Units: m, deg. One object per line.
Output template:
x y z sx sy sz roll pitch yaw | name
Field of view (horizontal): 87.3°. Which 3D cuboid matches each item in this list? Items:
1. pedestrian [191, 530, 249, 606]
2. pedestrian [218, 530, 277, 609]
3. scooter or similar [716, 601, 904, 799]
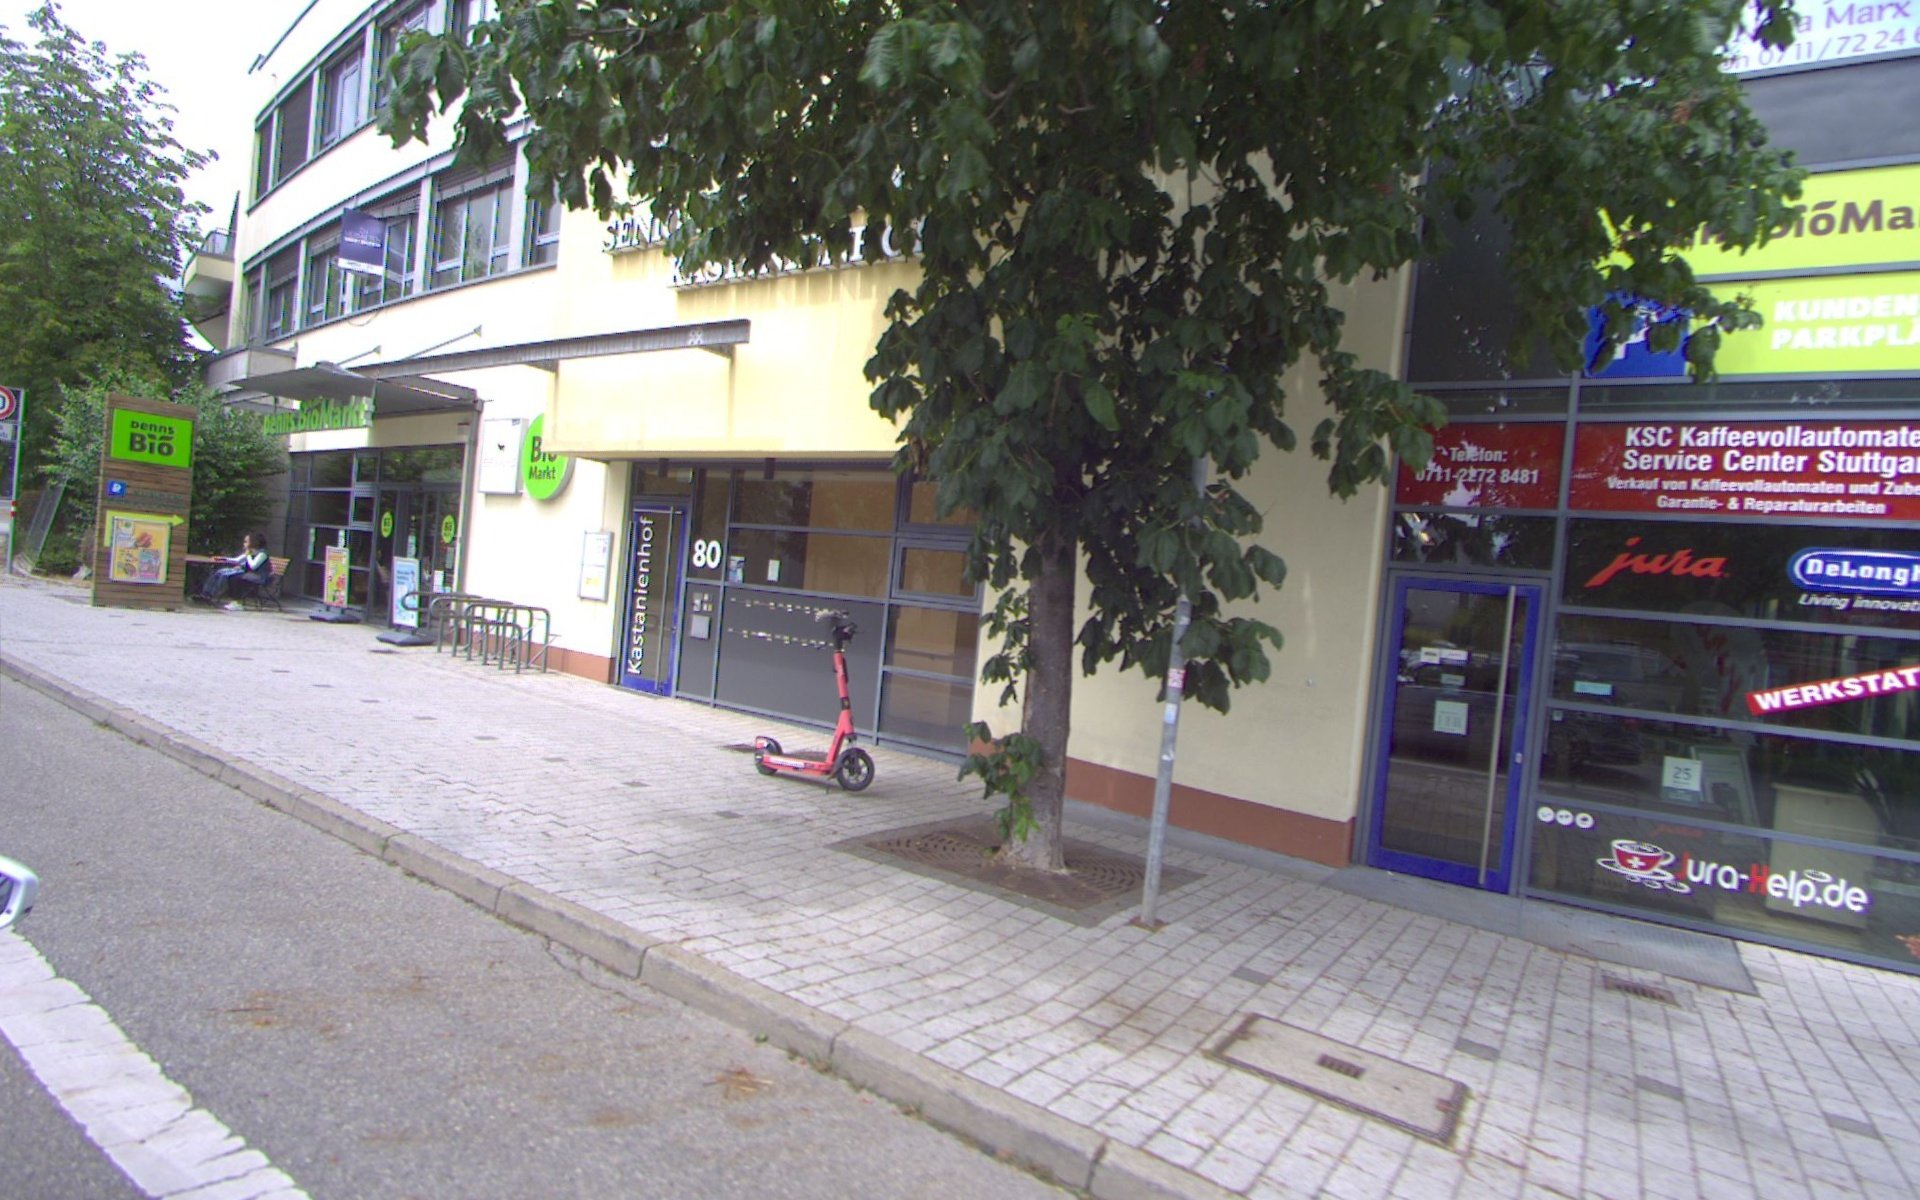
-12.402 -0.538 16.868 0.492 1.196 0.522 6 0 26 | pedestrian
-11.682 -0.496 16.500 0.495 1.218 0.577 6 0 36 | pedestrian
-1.193 0.740 7.840 1.435 1.332 0.381 6 0 33 | scooter or similar
